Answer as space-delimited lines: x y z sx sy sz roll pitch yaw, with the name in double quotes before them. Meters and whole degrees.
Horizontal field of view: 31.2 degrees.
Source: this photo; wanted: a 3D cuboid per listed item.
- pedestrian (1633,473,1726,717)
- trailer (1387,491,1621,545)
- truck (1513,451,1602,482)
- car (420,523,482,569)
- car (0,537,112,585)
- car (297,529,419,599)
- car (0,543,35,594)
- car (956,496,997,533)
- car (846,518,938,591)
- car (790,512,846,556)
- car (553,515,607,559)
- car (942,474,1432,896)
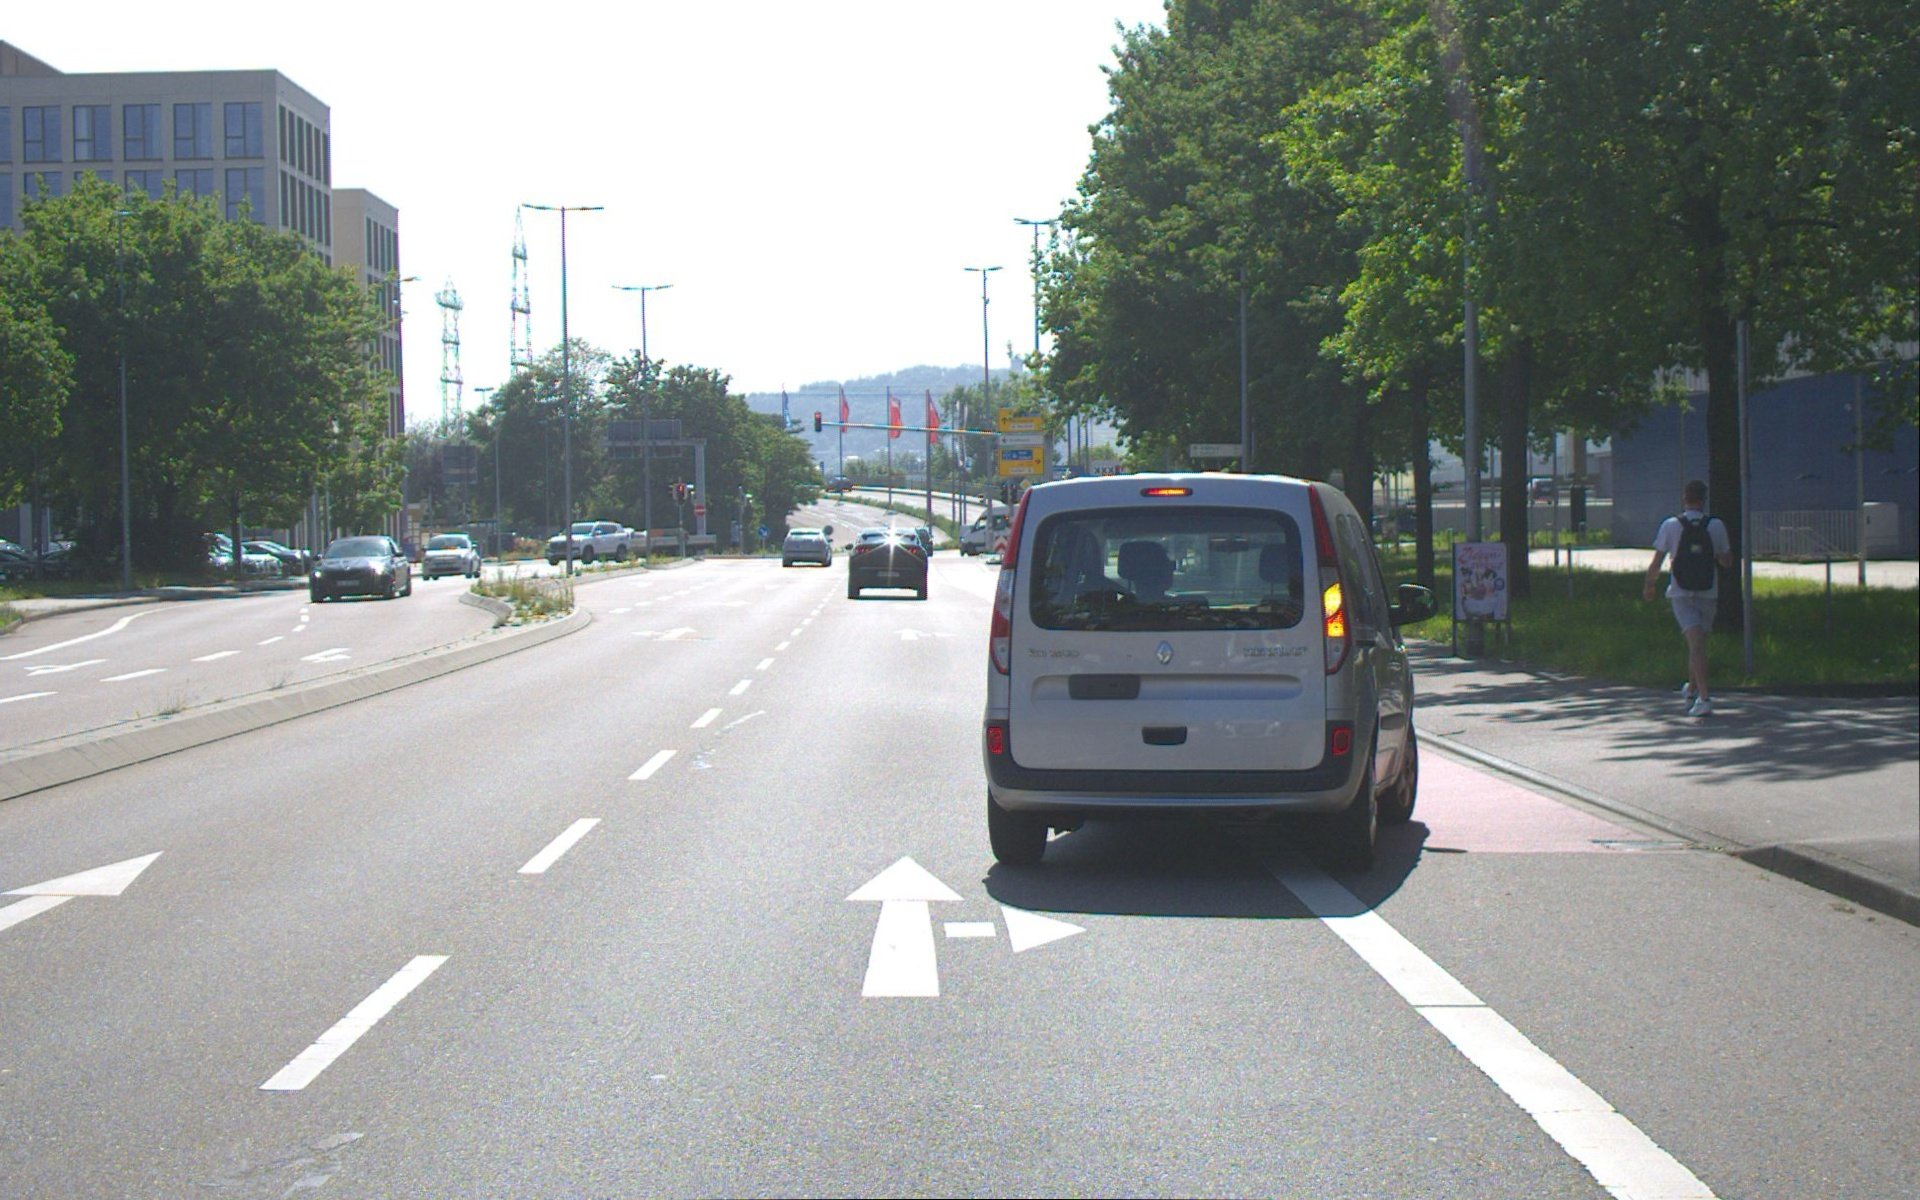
"pedestrian" 5.498 -0.046 26.295 0.535 1.835 0.728 -1 1 0
"trailer" 28.320 -4.283 179.176 11.873 2.460 2.000 1 2 5
"truck" 41.786 -9.332 240.499 5.910 2.006 2.000 1 2 2
"car" -16.951 -1.816 114.700 1.653 1.459 3.551 -2 1 -3
"car" -27.877 -1.174 103.909 3.987 1.371 1.924 -1 1 0
"car" -13.701 -0.848 78.461 1.841 1.458 5.000 -3 1 0
"car" -27.527 -0.840 93.888 3.987 1.371 1.924 -1 1 0
"car" 0.819 -4.235 170.145 1.757 1.752 3.603 1 2 -3
"car" -1.568 -1.092 80.727 1.807 1.634 4.459 -1 1 3
"car" -5.571 -2.602 135.150 1.993 1.678 4.000 -1 1 0
"car" -16.621 -2.767 150.604 1.993 1.826 4.938 -1 1 -2
"car" 1.261 0.328 17.052 1.906 1.822 4.178 -1 1 11
